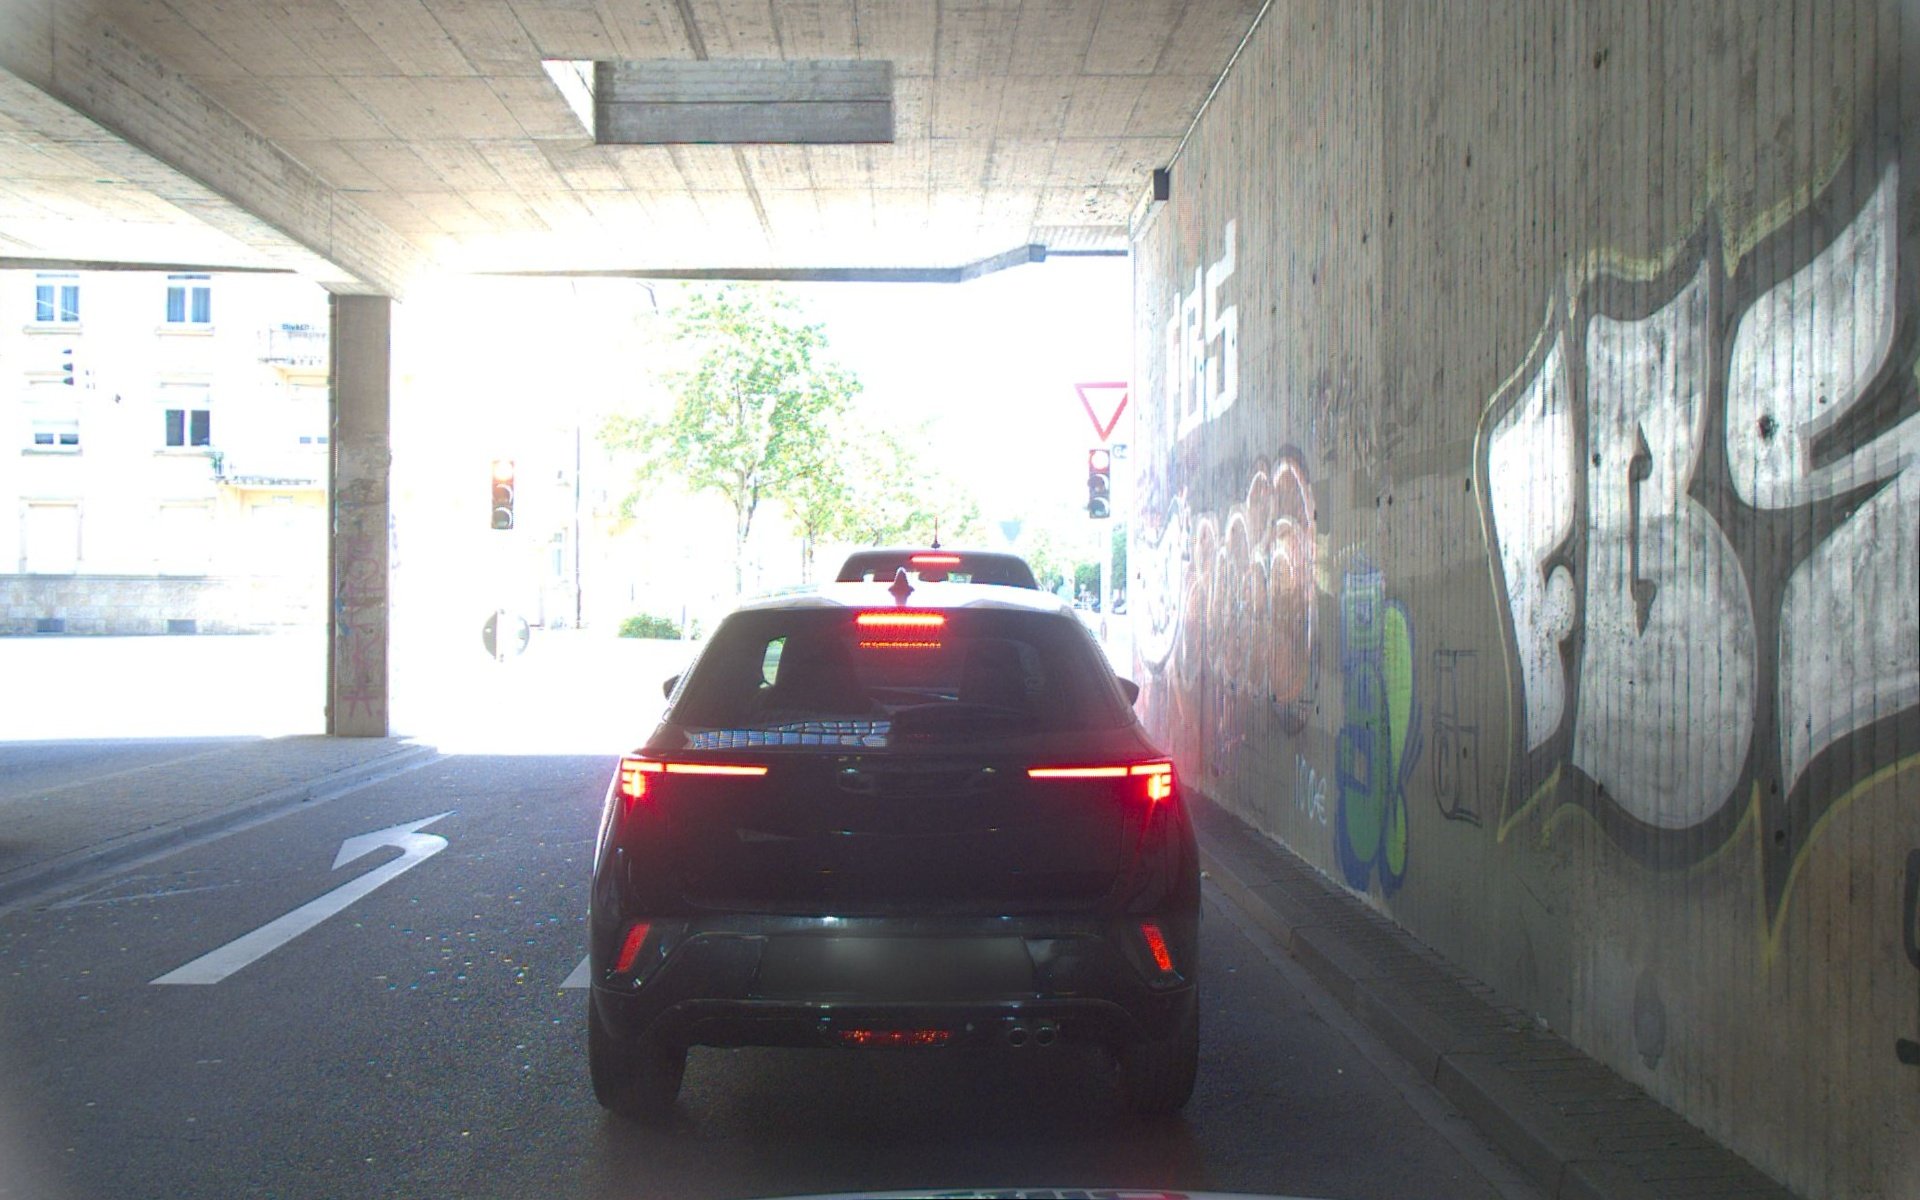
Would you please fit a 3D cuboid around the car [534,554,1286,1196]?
[{"bbox_3d":[-0.148,0.663,6.058,1.844,1.565,3.963,0,0,-1],"label":"car"}]

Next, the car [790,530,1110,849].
[{"bbox_3d":[-0.089,0.524,11.882,1.906,1.892,3.963,0,0,-1],"label":"car"}]

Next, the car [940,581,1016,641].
[{"bbox_3d":[0.501,0.327,44.177,1.927,1.523,3.896,0,-1,1],"label":"car"}]

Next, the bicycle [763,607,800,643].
[{"bbox_3d":[-5.553,0.764,51.419,0.716,1.086,1.690,1,0,9],"label":"bicycle"}]

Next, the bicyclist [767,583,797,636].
[{"bbox_3d":[-5.534,0.299,51.453,0.713,1.609,0.815,1,-1,9],"label":"bicyclist"}]

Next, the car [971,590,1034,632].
[{"bbox_3d":[1.625,0.432,62.214,1.926,1.523,3.899,0,-1,8],"label":"car"}]

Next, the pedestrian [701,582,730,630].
[{"bbox_3d":[-10.503,0.242,71.093,0.971,2.049,1.089,0,0,7],"label":"pedestrian"}]

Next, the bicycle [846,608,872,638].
[{"bbox_3d":[-3.737,0.836,61.462,0.612,1.086,1.690,1,0,9],"label":"bicycle"}]

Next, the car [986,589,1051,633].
[{"bbox_3d":[2.470,0.474,69.036,2.173,1.749,4.463,0,-1,9],"label":"car"}]

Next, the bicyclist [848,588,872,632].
[{"bbox_3d":[-3.718,0.371,61.520,0.713,1.609,0.815,1,-1,9],"label":"bicyclist"}]
